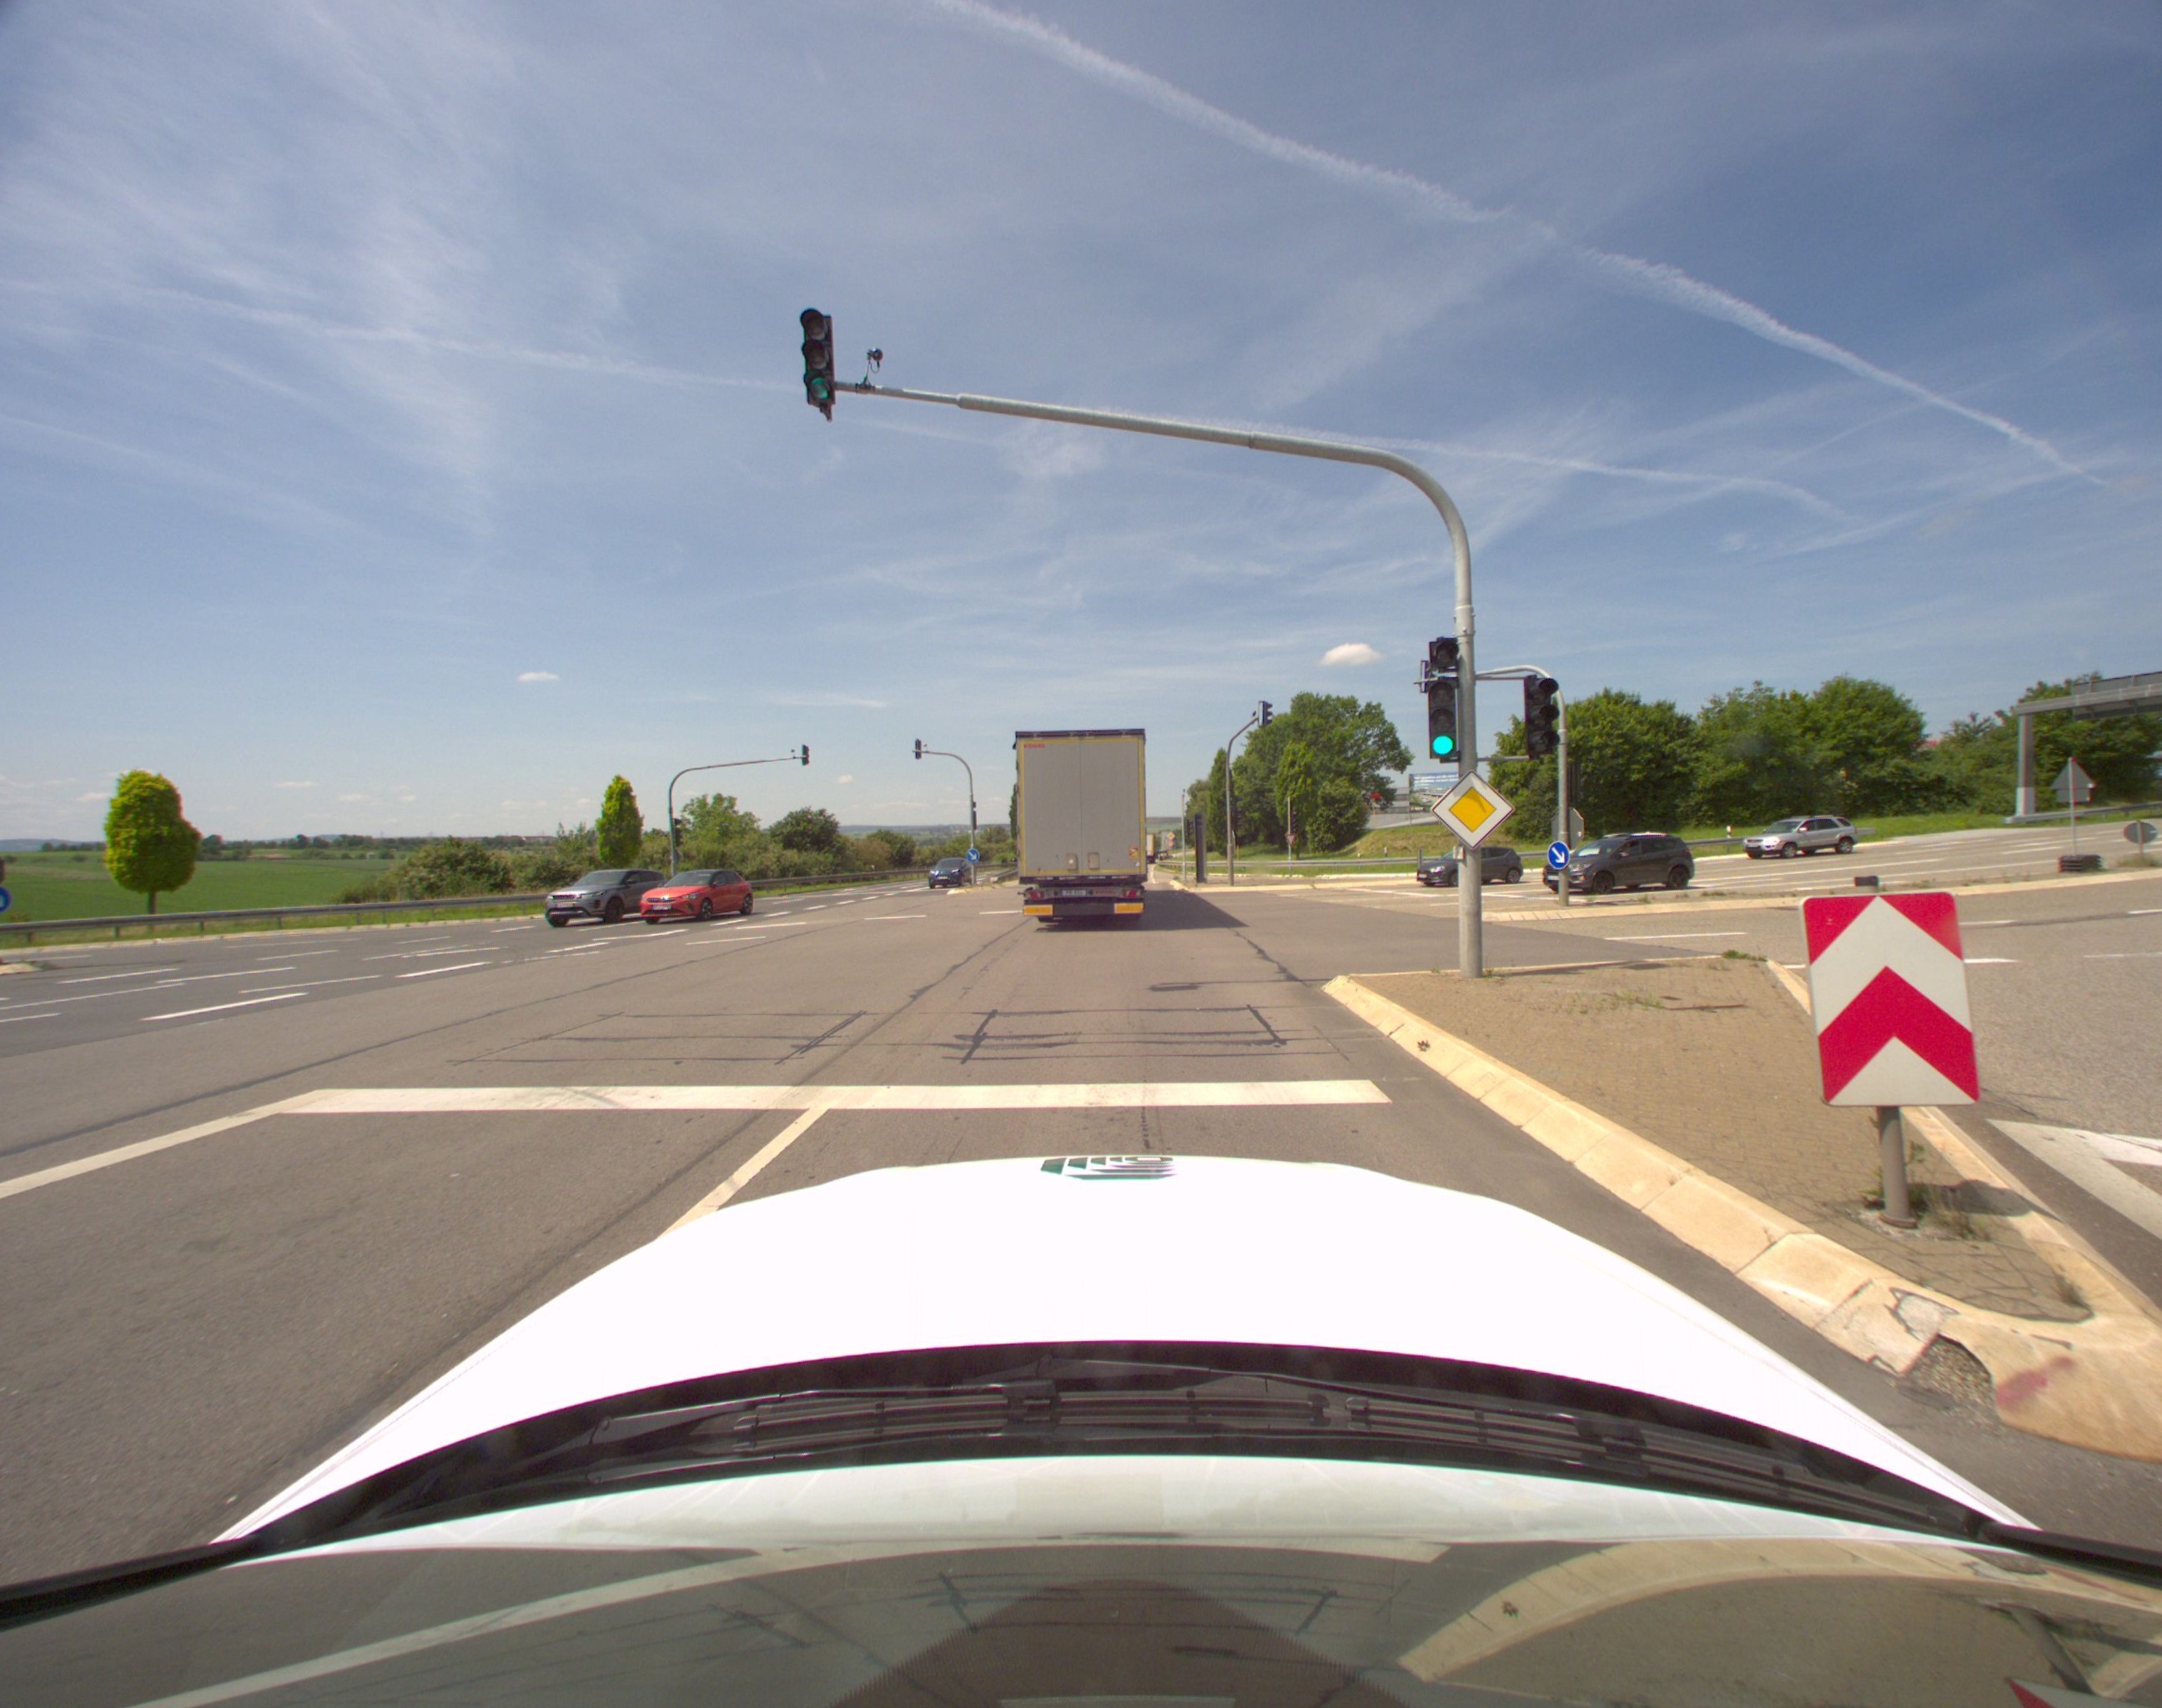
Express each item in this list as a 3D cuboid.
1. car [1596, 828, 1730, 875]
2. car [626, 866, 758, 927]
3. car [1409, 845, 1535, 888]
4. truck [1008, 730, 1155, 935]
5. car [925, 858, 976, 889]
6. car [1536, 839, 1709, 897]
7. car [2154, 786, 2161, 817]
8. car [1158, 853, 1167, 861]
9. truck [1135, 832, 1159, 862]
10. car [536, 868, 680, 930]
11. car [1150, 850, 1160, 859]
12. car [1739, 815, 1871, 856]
[{"bbox_3d":[23.454,-0.111,32.884,4.355,1.592,1.775,-3,0,-8],"label":"car"},{"bbox_3d":[-11.213,1.169,23.816,1.637,1.496,4.070,-3,0,3],"label":"car"},{"bbox_3d":[14.712,0.463,30.715,3.984,1.510,1.711,-1,-1,-8],"label":"car"},{"bbox_3d":[-0.059,-0.413,21.393,2.791,3.929,11.336,-1,0,-1],"label":"truck"},{"bbox_3d":[-6.699,0.976,42.216,1.748,1.469,4.199,-3,0,3],"label":"car"},{"bbox_3d":[16.254,0.402,24.517,4.360,1.510,1.710,-2,-1,-11],"label":"car"},{"bbox_3d":[57.193,-2.826,41.215,3.986,1.599,1.777,-5,2,-9],"label":"car"},{"bbox_3d":[17.240,0.565,172.558,1.777,1.688,4.006,0,-1,6],"label":"car"},{"bbox_3d":[9.088,-0.874,111.211,2.641,3.764,10.183,0,-1,8],"label":"truck"},{"bbox_3d":[-14.345,1.298,25.023,1.637,1.623,4.331,-3,-1,3],"label":"car"},{"bbox_3d":[14.037,0.112,154.091,1.777,1.688,4.006,0,-1,6],"label":"car"},{"bbox_3d":[31.778,-0.790,35.802,4.350,1.655,1.834,-1,-1,-5],"label":"car"}]
